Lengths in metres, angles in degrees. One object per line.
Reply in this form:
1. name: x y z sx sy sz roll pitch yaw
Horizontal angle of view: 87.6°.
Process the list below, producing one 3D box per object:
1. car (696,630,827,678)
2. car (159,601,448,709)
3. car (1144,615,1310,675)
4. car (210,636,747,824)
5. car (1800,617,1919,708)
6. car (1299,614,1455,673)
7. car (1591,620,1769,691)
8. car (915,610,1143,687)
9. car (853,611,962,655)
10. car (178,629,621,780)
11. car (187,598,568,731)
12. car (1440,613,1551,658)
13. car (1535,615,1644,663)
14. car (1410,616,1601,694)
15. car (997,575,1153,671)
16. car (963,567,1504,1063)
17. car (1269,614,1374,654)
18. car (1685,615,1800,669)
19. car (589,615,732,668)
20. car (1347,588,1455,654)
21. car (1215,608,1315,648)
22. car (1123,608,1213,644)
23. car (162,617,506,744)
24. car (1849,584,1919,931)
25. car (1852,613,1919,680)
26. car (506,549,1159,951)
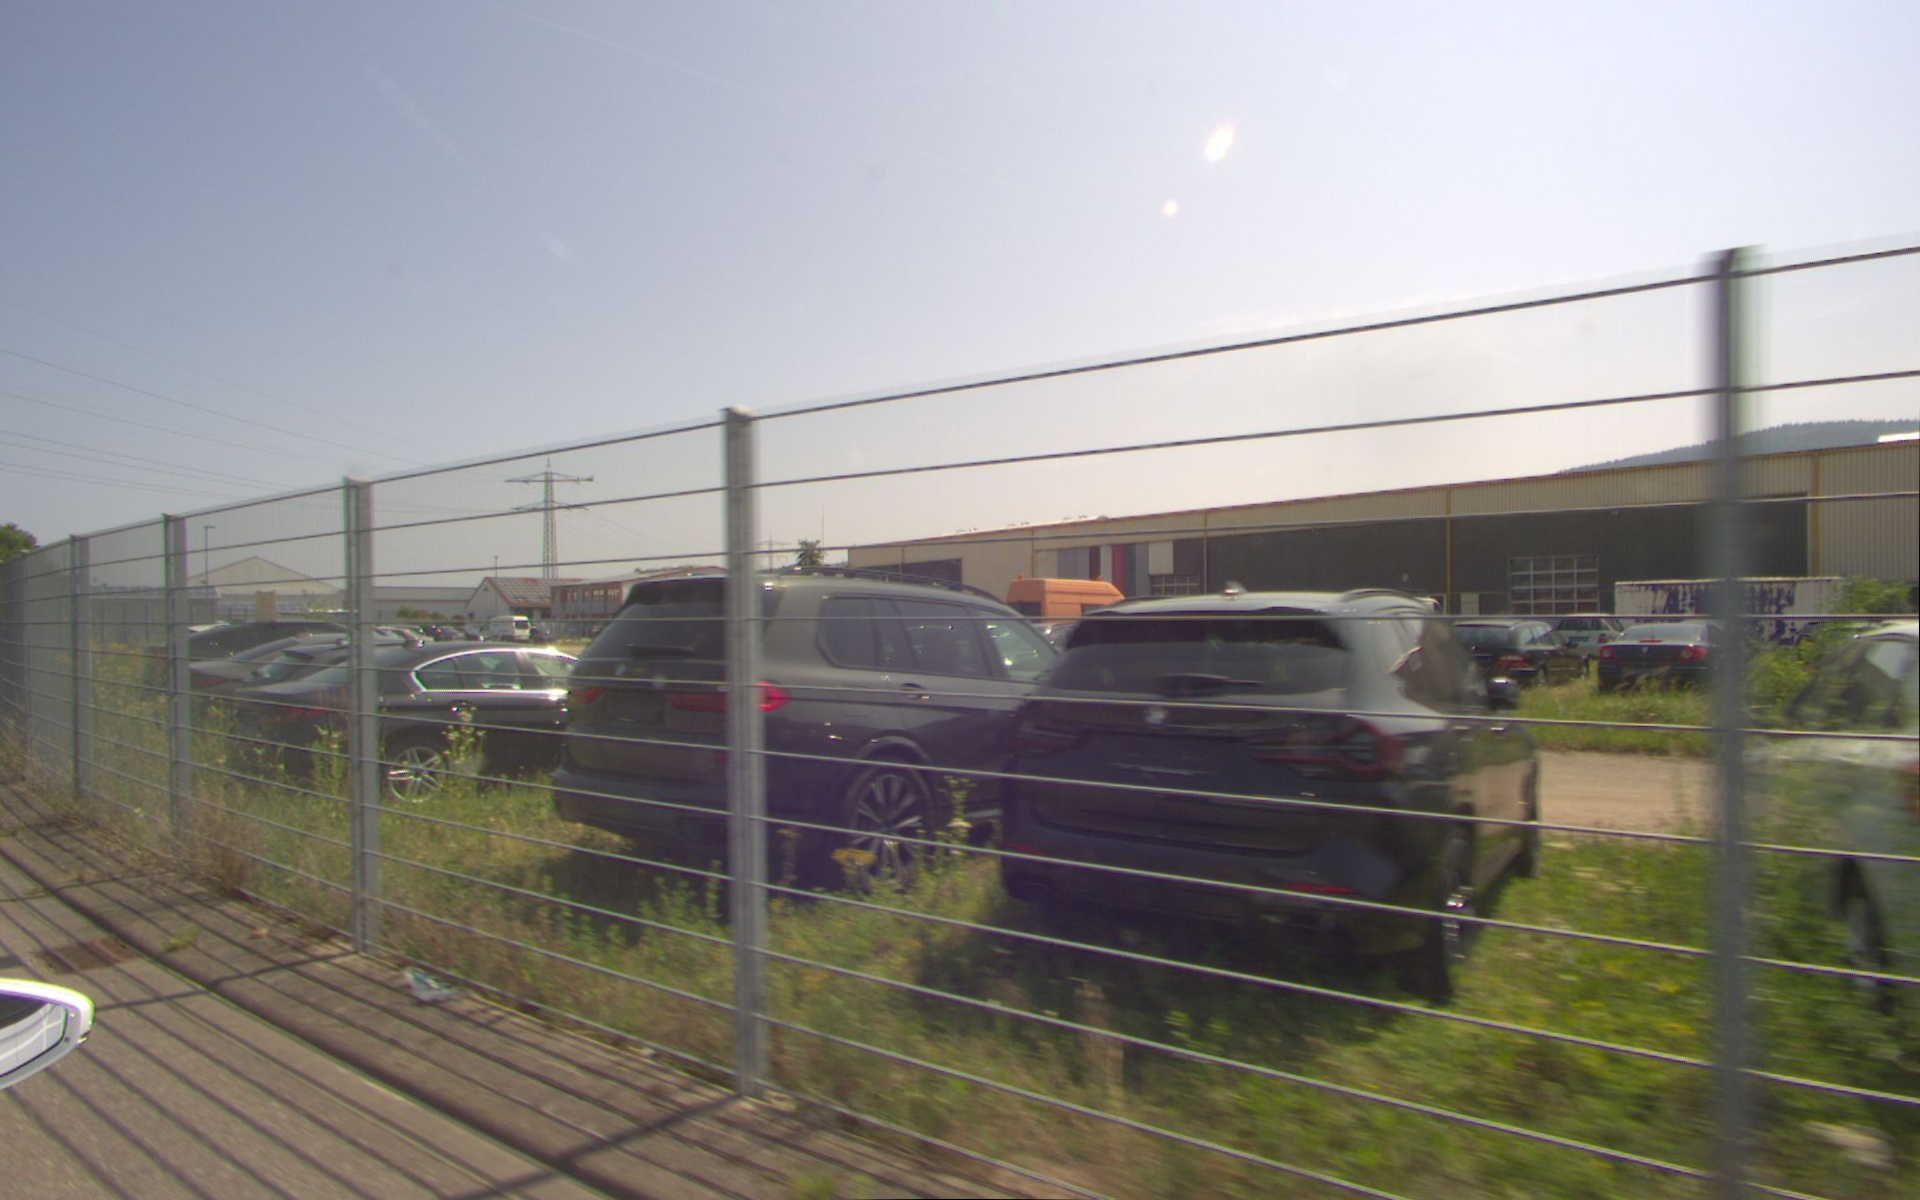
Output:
1. car: -6.162 1.645 31.234 3.731 1.319 1.598 0 0 -40
2. car: -11.438 0.869 17.630 4.086 1.692 1.710 0 0 -38
3. car: 6.626 1.043 24.621 4.341 1.286 1.806 0 0 -40
4. car: -4.451 1.076 9.831 1.705 1.399 4.440 0 -2 43
5. car: 14.993 0.912 15.907 4.341 1.221 1.826 0 0 -40
6. car: 9.745 0.960 23.265 4.341 1.199 1.563 0 0 -40
7. car: 12.987 0.928 17.971 4.341 1.046 1.605 0 0 -40
8. car: 1.497 0.902 20.357 4.707 1.370 1.806 0 0 -40
9. car: -1.859 1.165 36.231 3.787 1.481 1.575 0 0 -40
10. car: -6.643 1.114 12.275 1.705 1.400 4.443 0 0 43
11. car: -8.134 0.781 14.251 4.435 1.603 1.780 0 0 -41
12. car: 17.752 1.138 33.102 4.345 1.340 1.955 0 0 -43
13. car: 20.427 1.210 32.422 4.345 1.404 1.955 0 0 -43
14. car: 10.745 0.995 19.588 4.341 1.292 1.863 0 0 -40
15. car: 3.478 0.634 29.795 4.693 2.619 1.963 0 0 -40
16. car: 1.875 0.711 5.533 1.669 1.624 4.285 0 0 33
17. car: 13.714 1.246 37.872 4.341 1.396 1.826 0 0 -40
18. car: 22.881 1.177 29.238 4.341 1.396 1.826 0 0 -40
19. car: -10.371 1.381 34.790 4.419 1.670 1.865 0 0 -36
20. car: 15.579 0.695 35.291 4.345 2.200 1.955 0 0 -43
21. car: 12.383 1.084 40.526 4.345 1.505 1.955 0 0 -43
22. car: 9.319 1.120 44.673 4.345 1.505 1.736 0 0 -43
23. car: -9.784 1.147 15.888 4.430 1.692 1.710 0 0 -38
24. car: 4.467 0.645 3.535 1.495 1.436 3.457 0 0 34
25. car: 22.174 1.010 23.077 4.341 1.396 1.826 0 0 -40
26. car: -0.421 0.676 6.862 1.720 1.792 4.670 0 0 36
